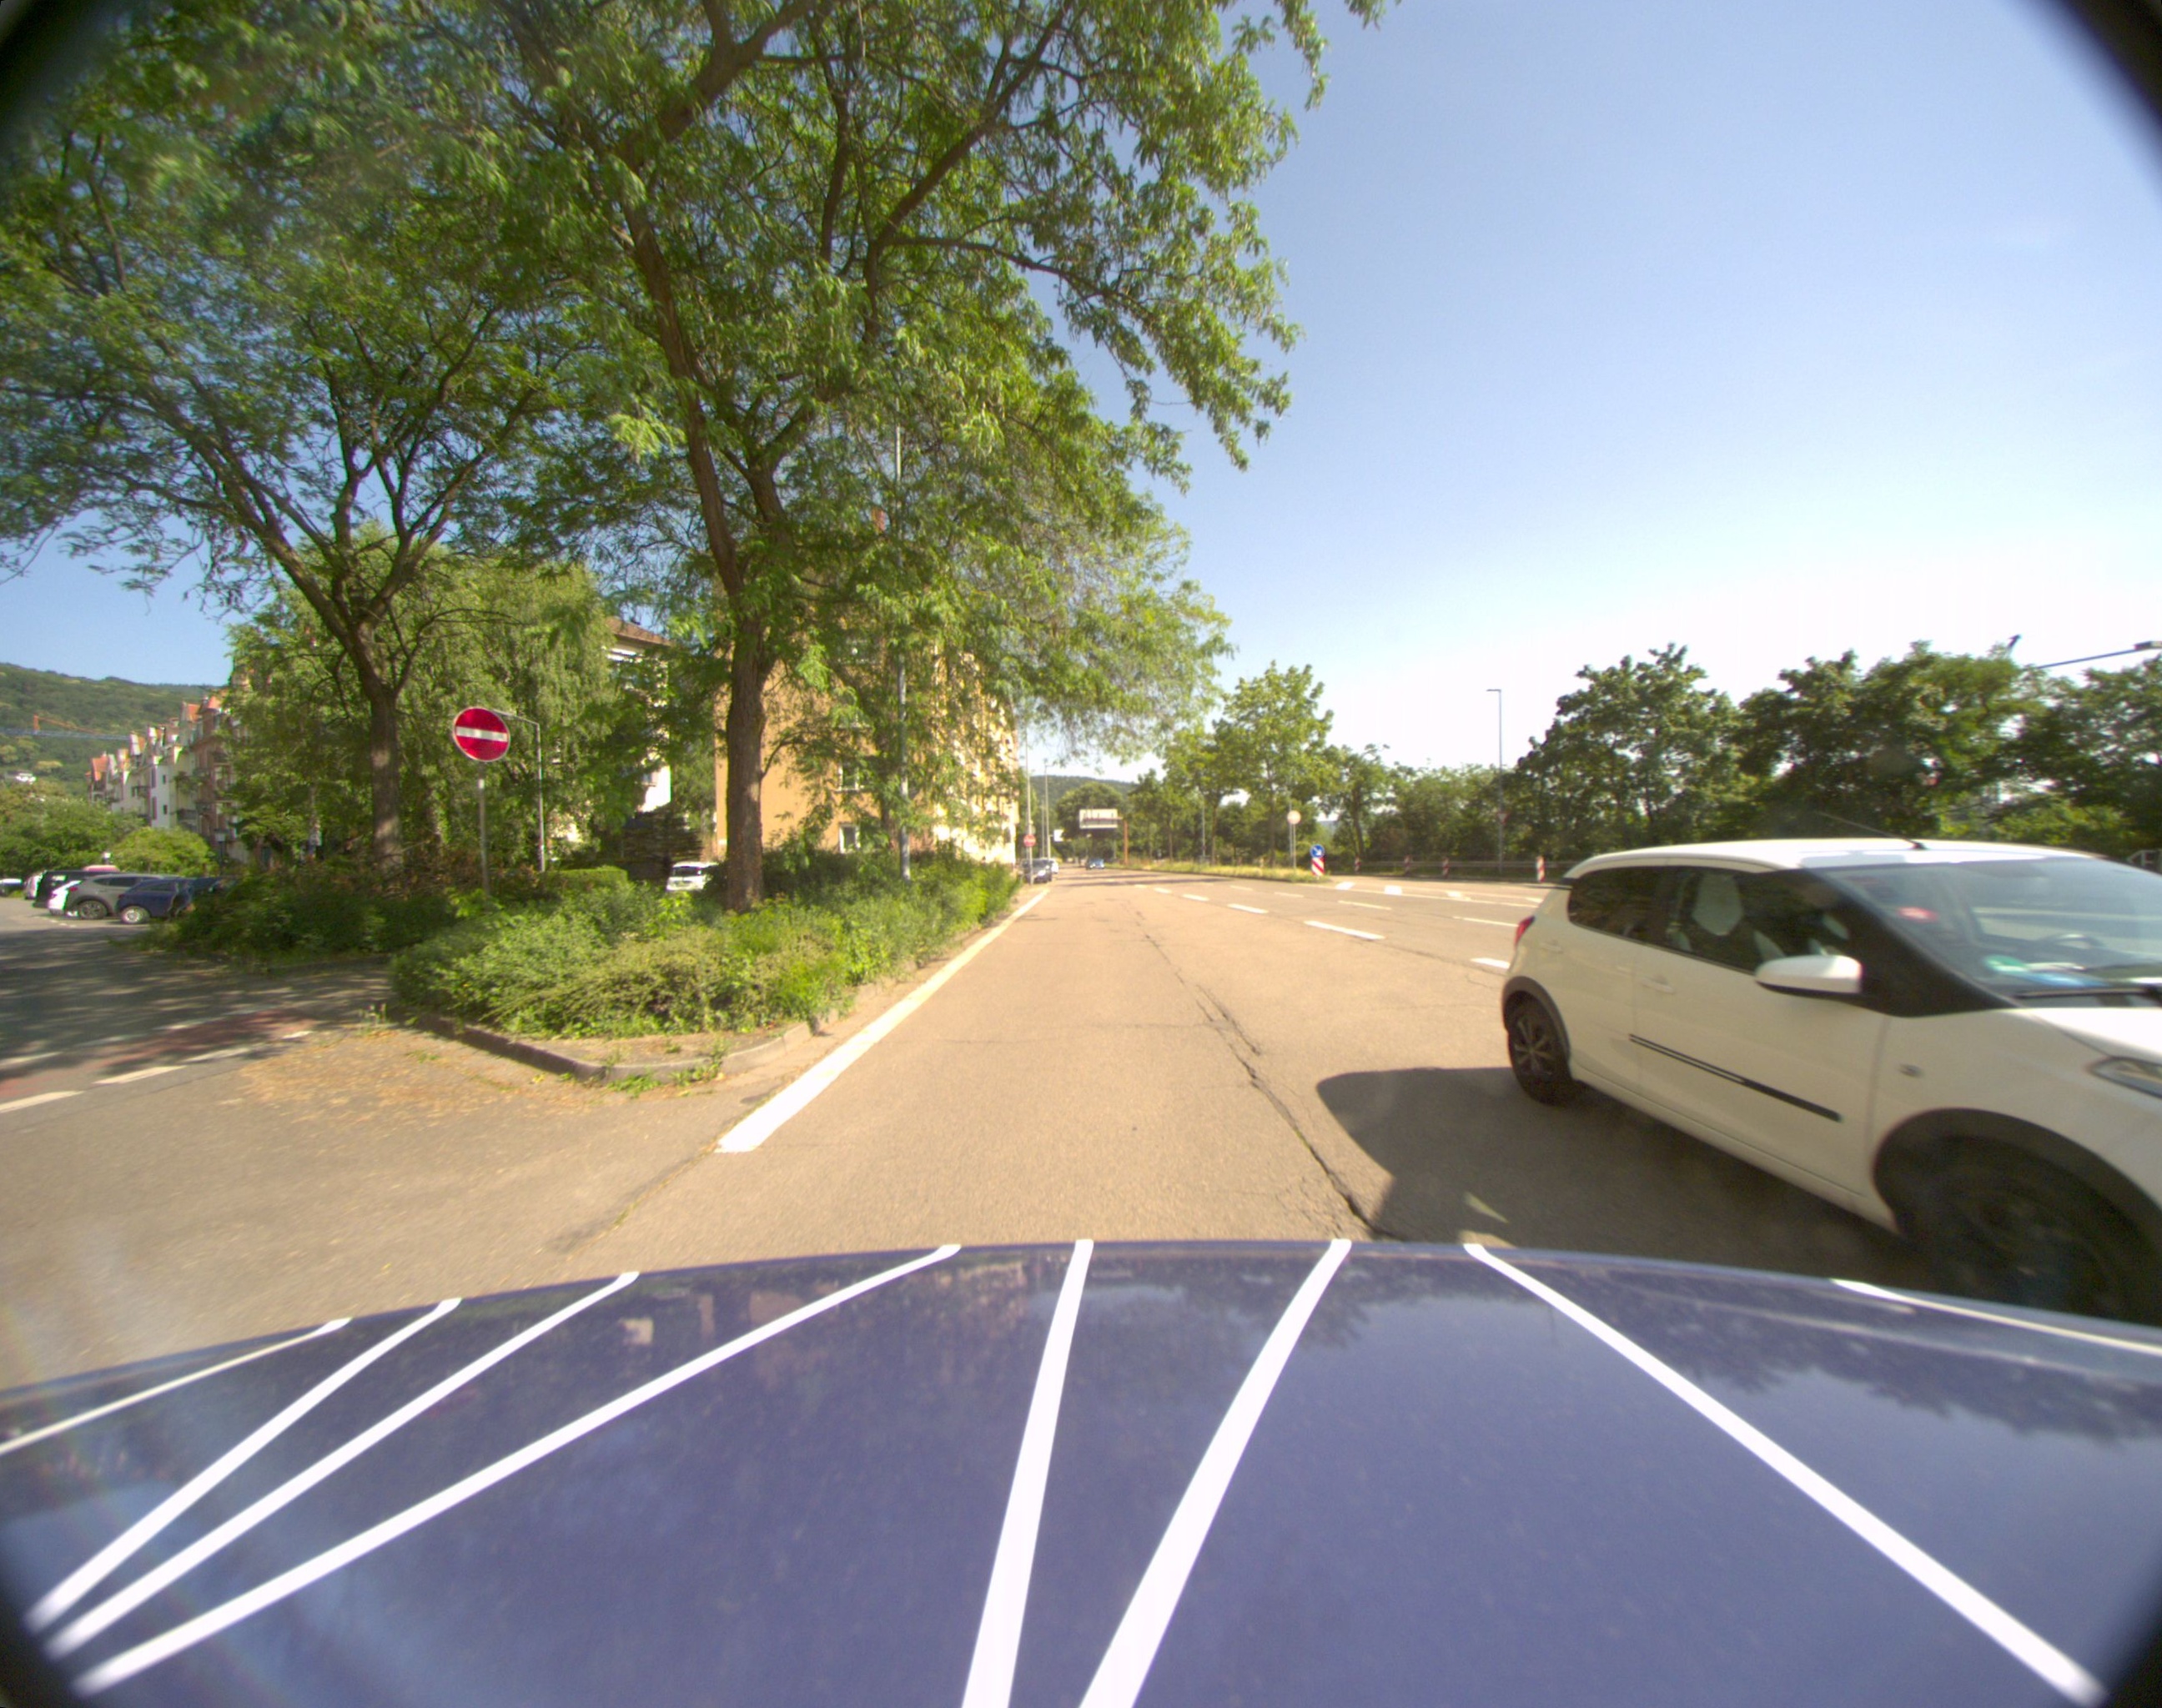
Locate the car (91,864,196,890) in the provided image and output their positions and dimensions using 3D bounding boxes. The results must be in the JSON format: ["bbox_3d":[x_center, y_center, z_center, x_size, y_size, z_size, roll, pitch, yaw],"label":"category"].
[{"bbox_3d":[-58.497,1.393,47.520,1.903,1.418,4.008,0,1,40],"label":"car"}]

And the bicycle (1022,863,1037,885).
[{"bbox_3d":[-2.732,1.033,40.038,0.704,1.117,1.744,-1,0,-5],"label":"bicycle"}]

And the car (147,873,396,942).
[{"bbox_3d":[-19.627,1.261,18.618,3.773,1.434,1.779,-1,0,-13],"label":"car"}]

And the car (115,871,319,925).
[{"bbox_3d":[-28.488,1.404,25.242,4.004,1.504,1.931,-2,1,-21],"label":"car"}]

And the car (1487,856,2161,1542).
[{"bbox_3d":[3.302,0.802,2.940,1.623,1.496,3.461,-2,0,1],"label":"car"}]

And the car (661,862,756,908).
[{"bbox_3d":[-14.662,1.159,30.134,1.659,1.631,3.786,-1,0,4],"label":"car"}]

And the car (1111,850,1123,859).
[{"bbox_3d":[6.923,0.075,147.291,1.803,1.521,3.998,-2,0,-6],"label":"car"}]

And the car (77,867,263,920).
[{"bbox_3d":[-33.896,1.440,28.427,4.003,1.718,1.866,-2,1,-18],"label":"car"}]

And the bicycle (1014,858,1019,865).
[{"bbox_3d":[-8.992,0.995,105.713,0.652,0.964,1.863,-1,0,-5],"label":"bicycle"}]

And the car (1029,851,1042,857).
[{"bbox_3d":[-12.802,-0.012,213.161,2.003,1.519,4.688,0,0,-25],"label":"car"}]

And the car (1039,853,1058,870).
[{"bbox_3d":[-3.195,0.702,73.755,1.761,1.497,4.126,-3,1,-3],"label":"car"}]

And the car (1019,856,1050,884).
[{"bbox_3d":[-2.738,0.886,44.450,1.708,1.505,4.090,-1,0,-4],"label":"car"}]

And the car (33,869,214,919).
[{"bbox_3d":[-37.419,1.532,29.842,4.003,1.718,1.866,-2,1,-18],"label":"car"}]

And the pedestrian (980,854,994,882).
[{"bbox_3d":[-5.637,0.835,45.565,0.657,1.600,0.824,-1,1,1],"label":"pedestrian"}]

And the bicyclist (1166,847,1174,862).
[{"bbox_3d":[11.223,0.096,95.650,0.698,1.821,1.016,-1,1,-6],"label":"bicyclist"}]

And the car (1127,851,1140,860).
[{"bbox_3d":[9.335,0.235,134.448,1.768,1.465,4.083,-1,0,-3],"label":"car"}]

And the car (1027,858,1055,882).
[{"bbox_3d":[-2.557,1.017,49.288,1.715,1.453,4.255,-1,0,-2],"label":"car"}]

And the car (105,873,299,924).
[{"bbox_3d":[-30.837,1.524,26.841,4.004,1.524,1.931,-2,1,-21],"label":"car"}]

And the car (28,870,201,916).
[{"bbox_3d":[-40.124,1.578,31.690,4.004,1.630,1.905,-2,1,-21],"label":"car"}]

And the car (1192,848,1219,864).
[{"bbox_3d":[14.162,0.219,86.815,1.999,1.724,4.727,-1,0,-4],"label":"car"}]

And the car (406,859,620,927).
[{"bbox_3d":[-14.483,0.954,19.606,3.972,1.539,1.839,-2,1,-8],"label":"car"}]

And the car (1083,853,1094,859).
[{"bbox_3d":[1.633,0.481,171.185,1.651,1.408,3.966,-1,0,-11],"label":"car"}]
